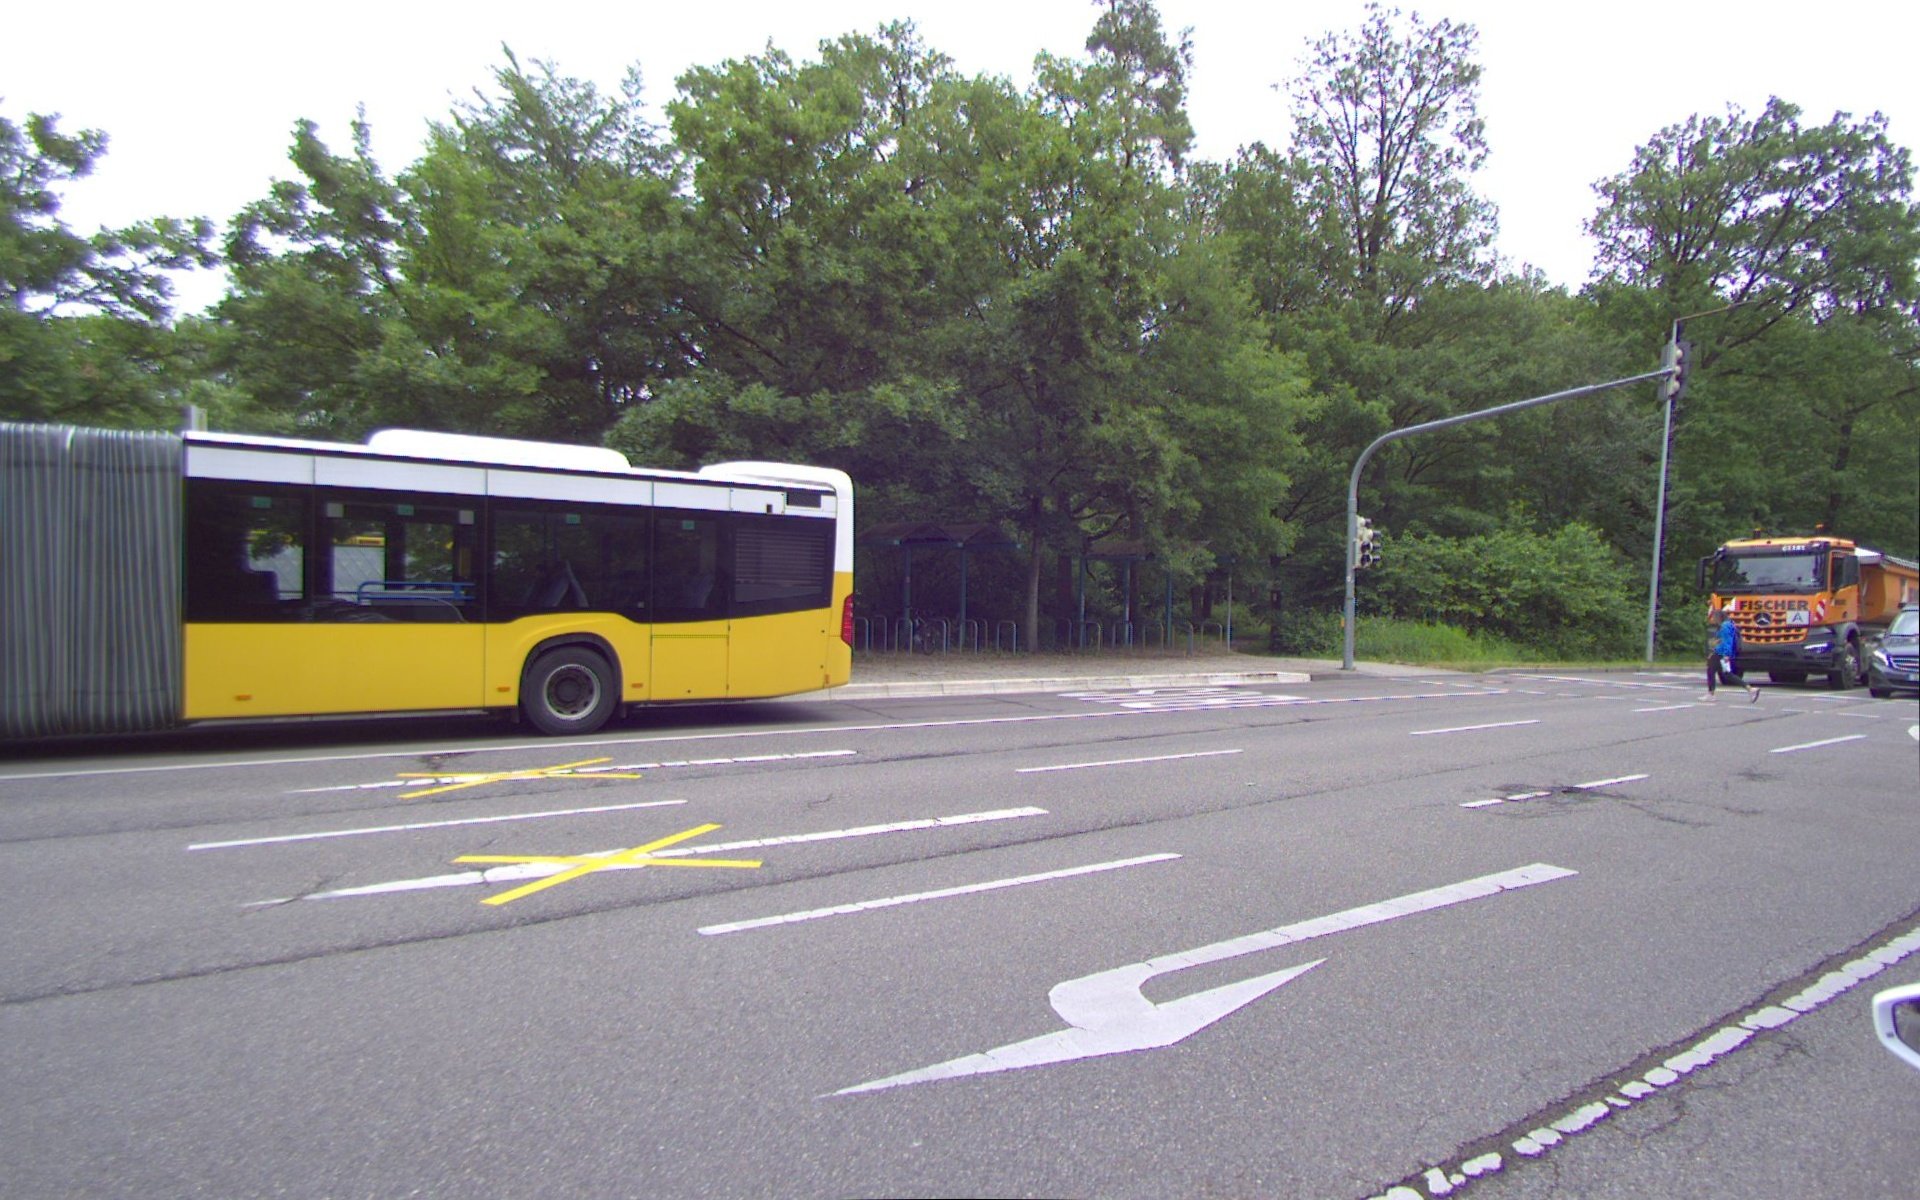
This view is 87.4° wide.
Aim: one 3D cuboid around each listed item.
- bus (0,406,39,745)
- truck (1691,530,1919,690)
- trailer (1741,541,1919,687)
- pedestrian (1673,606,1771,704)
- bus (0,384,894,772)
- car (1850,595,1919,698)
[{"bbox_3d":[-12.997,-0.295,6.708,9.650,3.169,2.883,1,1,-32],"label":"bus"},{"bbox_3d":[20.577,0.325,24.314,7.094,3.362,2.719,2,-1,-37],"label":"truck"},{"bbox_3d":[23.944,0.467,26.868,8.490,3.362,2.719,2,-1,-37],"label":"trailer"},{"bbox_3d":[13.526,0.943,17.846,1.055,1.671,1.043,0,0,-28],"label":"pedestrian"},{"bbox_3d":[-5.248,-0.143,11.520,8.596,3.169,2.883,1,1,-32],"label":"bus"},{"bbox_3d":[19.841,0.927,20.136,4.791,1.918,1.980,2,-2,-36],"label":"car"}]
